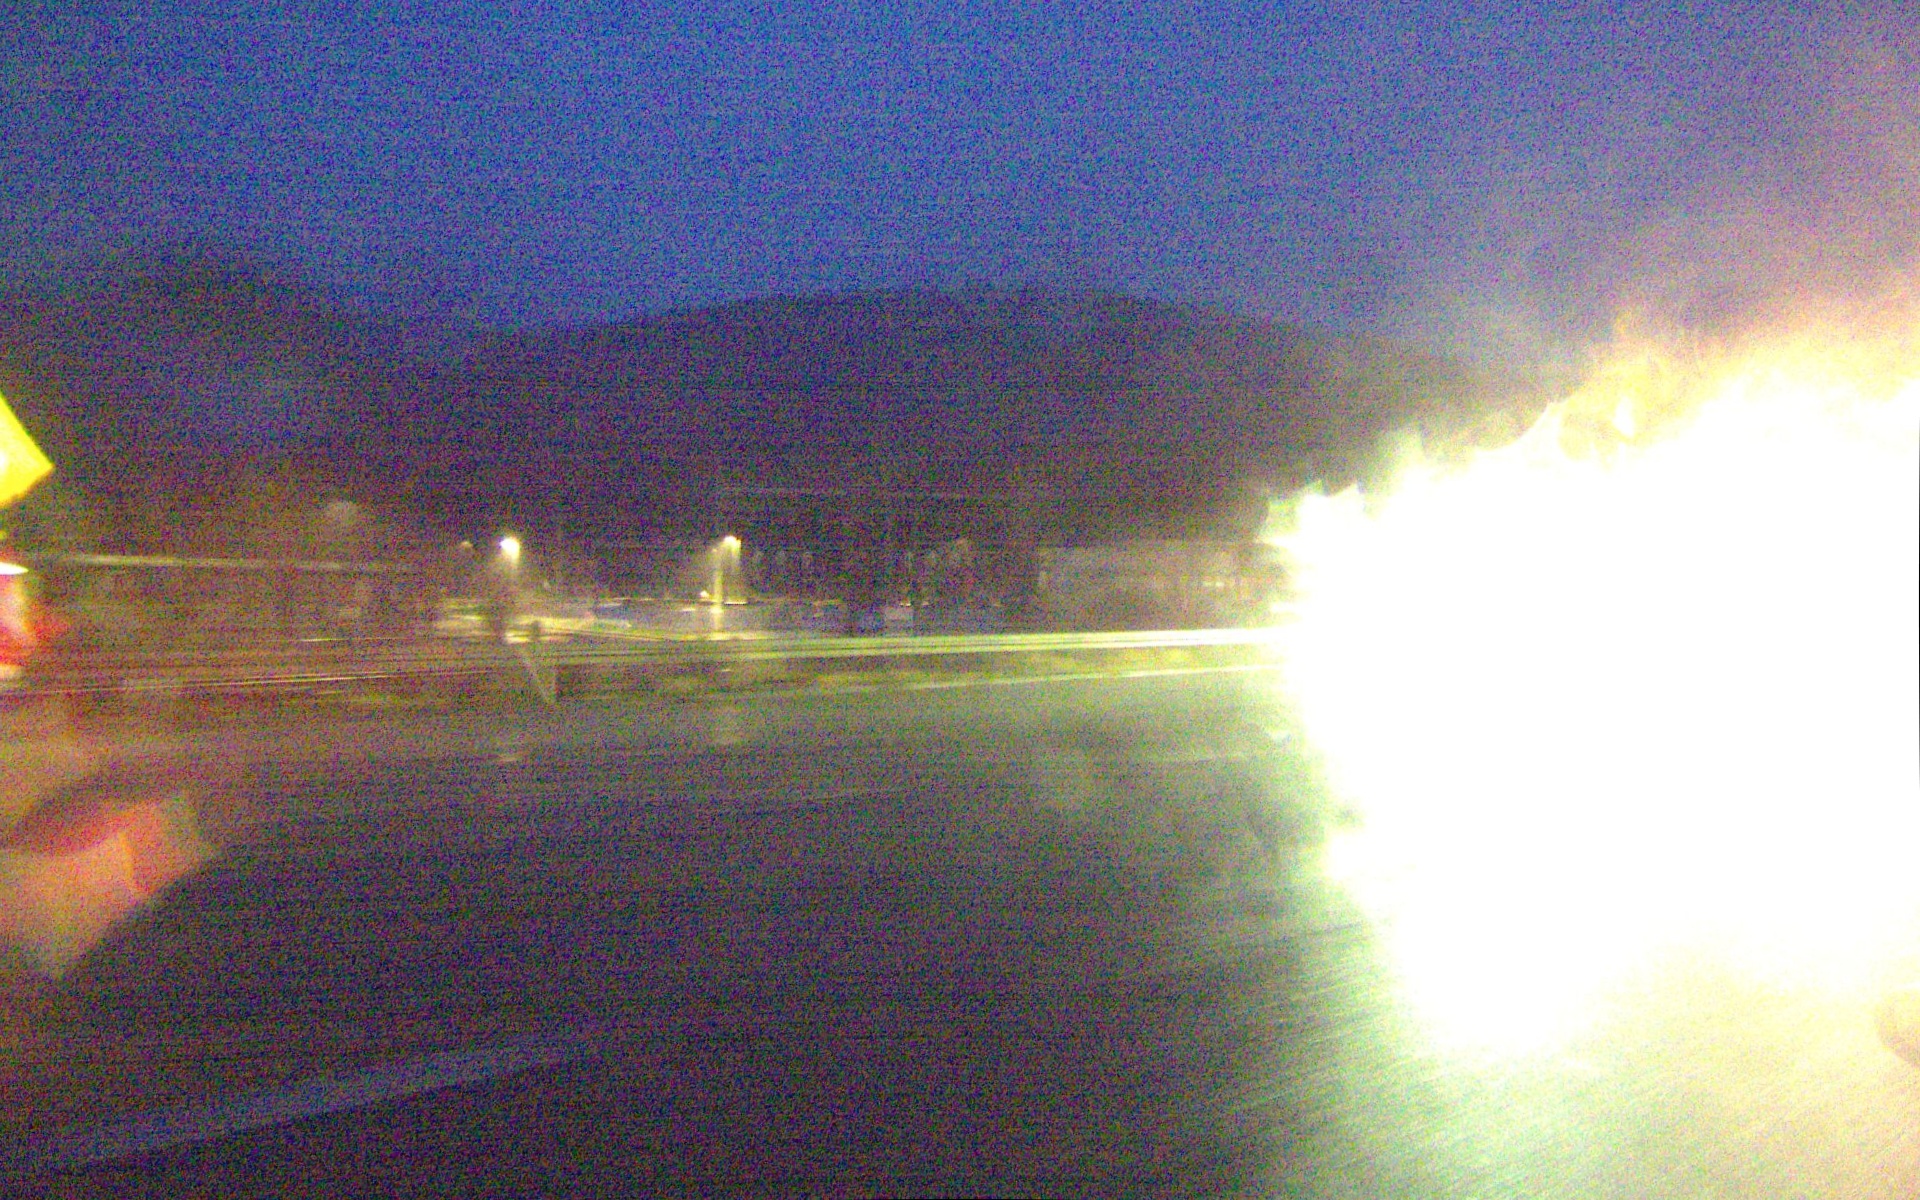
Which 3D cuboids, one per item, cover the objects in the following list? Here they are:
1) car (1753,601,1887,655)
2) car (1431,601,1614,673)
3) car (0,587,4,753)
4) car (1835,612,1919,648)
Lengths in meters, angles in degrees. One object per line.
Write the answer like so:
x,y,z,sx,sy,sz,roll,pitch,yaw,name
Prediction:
26.551,0.828,30.986,4.508,1.528,1.981,1,1,-34,car
12.460,0.778,22.178,4.206,1.416,1.864,1,0,-34,car
-9.561,0.599,7.059,3.814,1.460,1.780,1,1,-33,car
47.876,1.529,51.684,1.980,1.684,3.961,1,1,-34,car
